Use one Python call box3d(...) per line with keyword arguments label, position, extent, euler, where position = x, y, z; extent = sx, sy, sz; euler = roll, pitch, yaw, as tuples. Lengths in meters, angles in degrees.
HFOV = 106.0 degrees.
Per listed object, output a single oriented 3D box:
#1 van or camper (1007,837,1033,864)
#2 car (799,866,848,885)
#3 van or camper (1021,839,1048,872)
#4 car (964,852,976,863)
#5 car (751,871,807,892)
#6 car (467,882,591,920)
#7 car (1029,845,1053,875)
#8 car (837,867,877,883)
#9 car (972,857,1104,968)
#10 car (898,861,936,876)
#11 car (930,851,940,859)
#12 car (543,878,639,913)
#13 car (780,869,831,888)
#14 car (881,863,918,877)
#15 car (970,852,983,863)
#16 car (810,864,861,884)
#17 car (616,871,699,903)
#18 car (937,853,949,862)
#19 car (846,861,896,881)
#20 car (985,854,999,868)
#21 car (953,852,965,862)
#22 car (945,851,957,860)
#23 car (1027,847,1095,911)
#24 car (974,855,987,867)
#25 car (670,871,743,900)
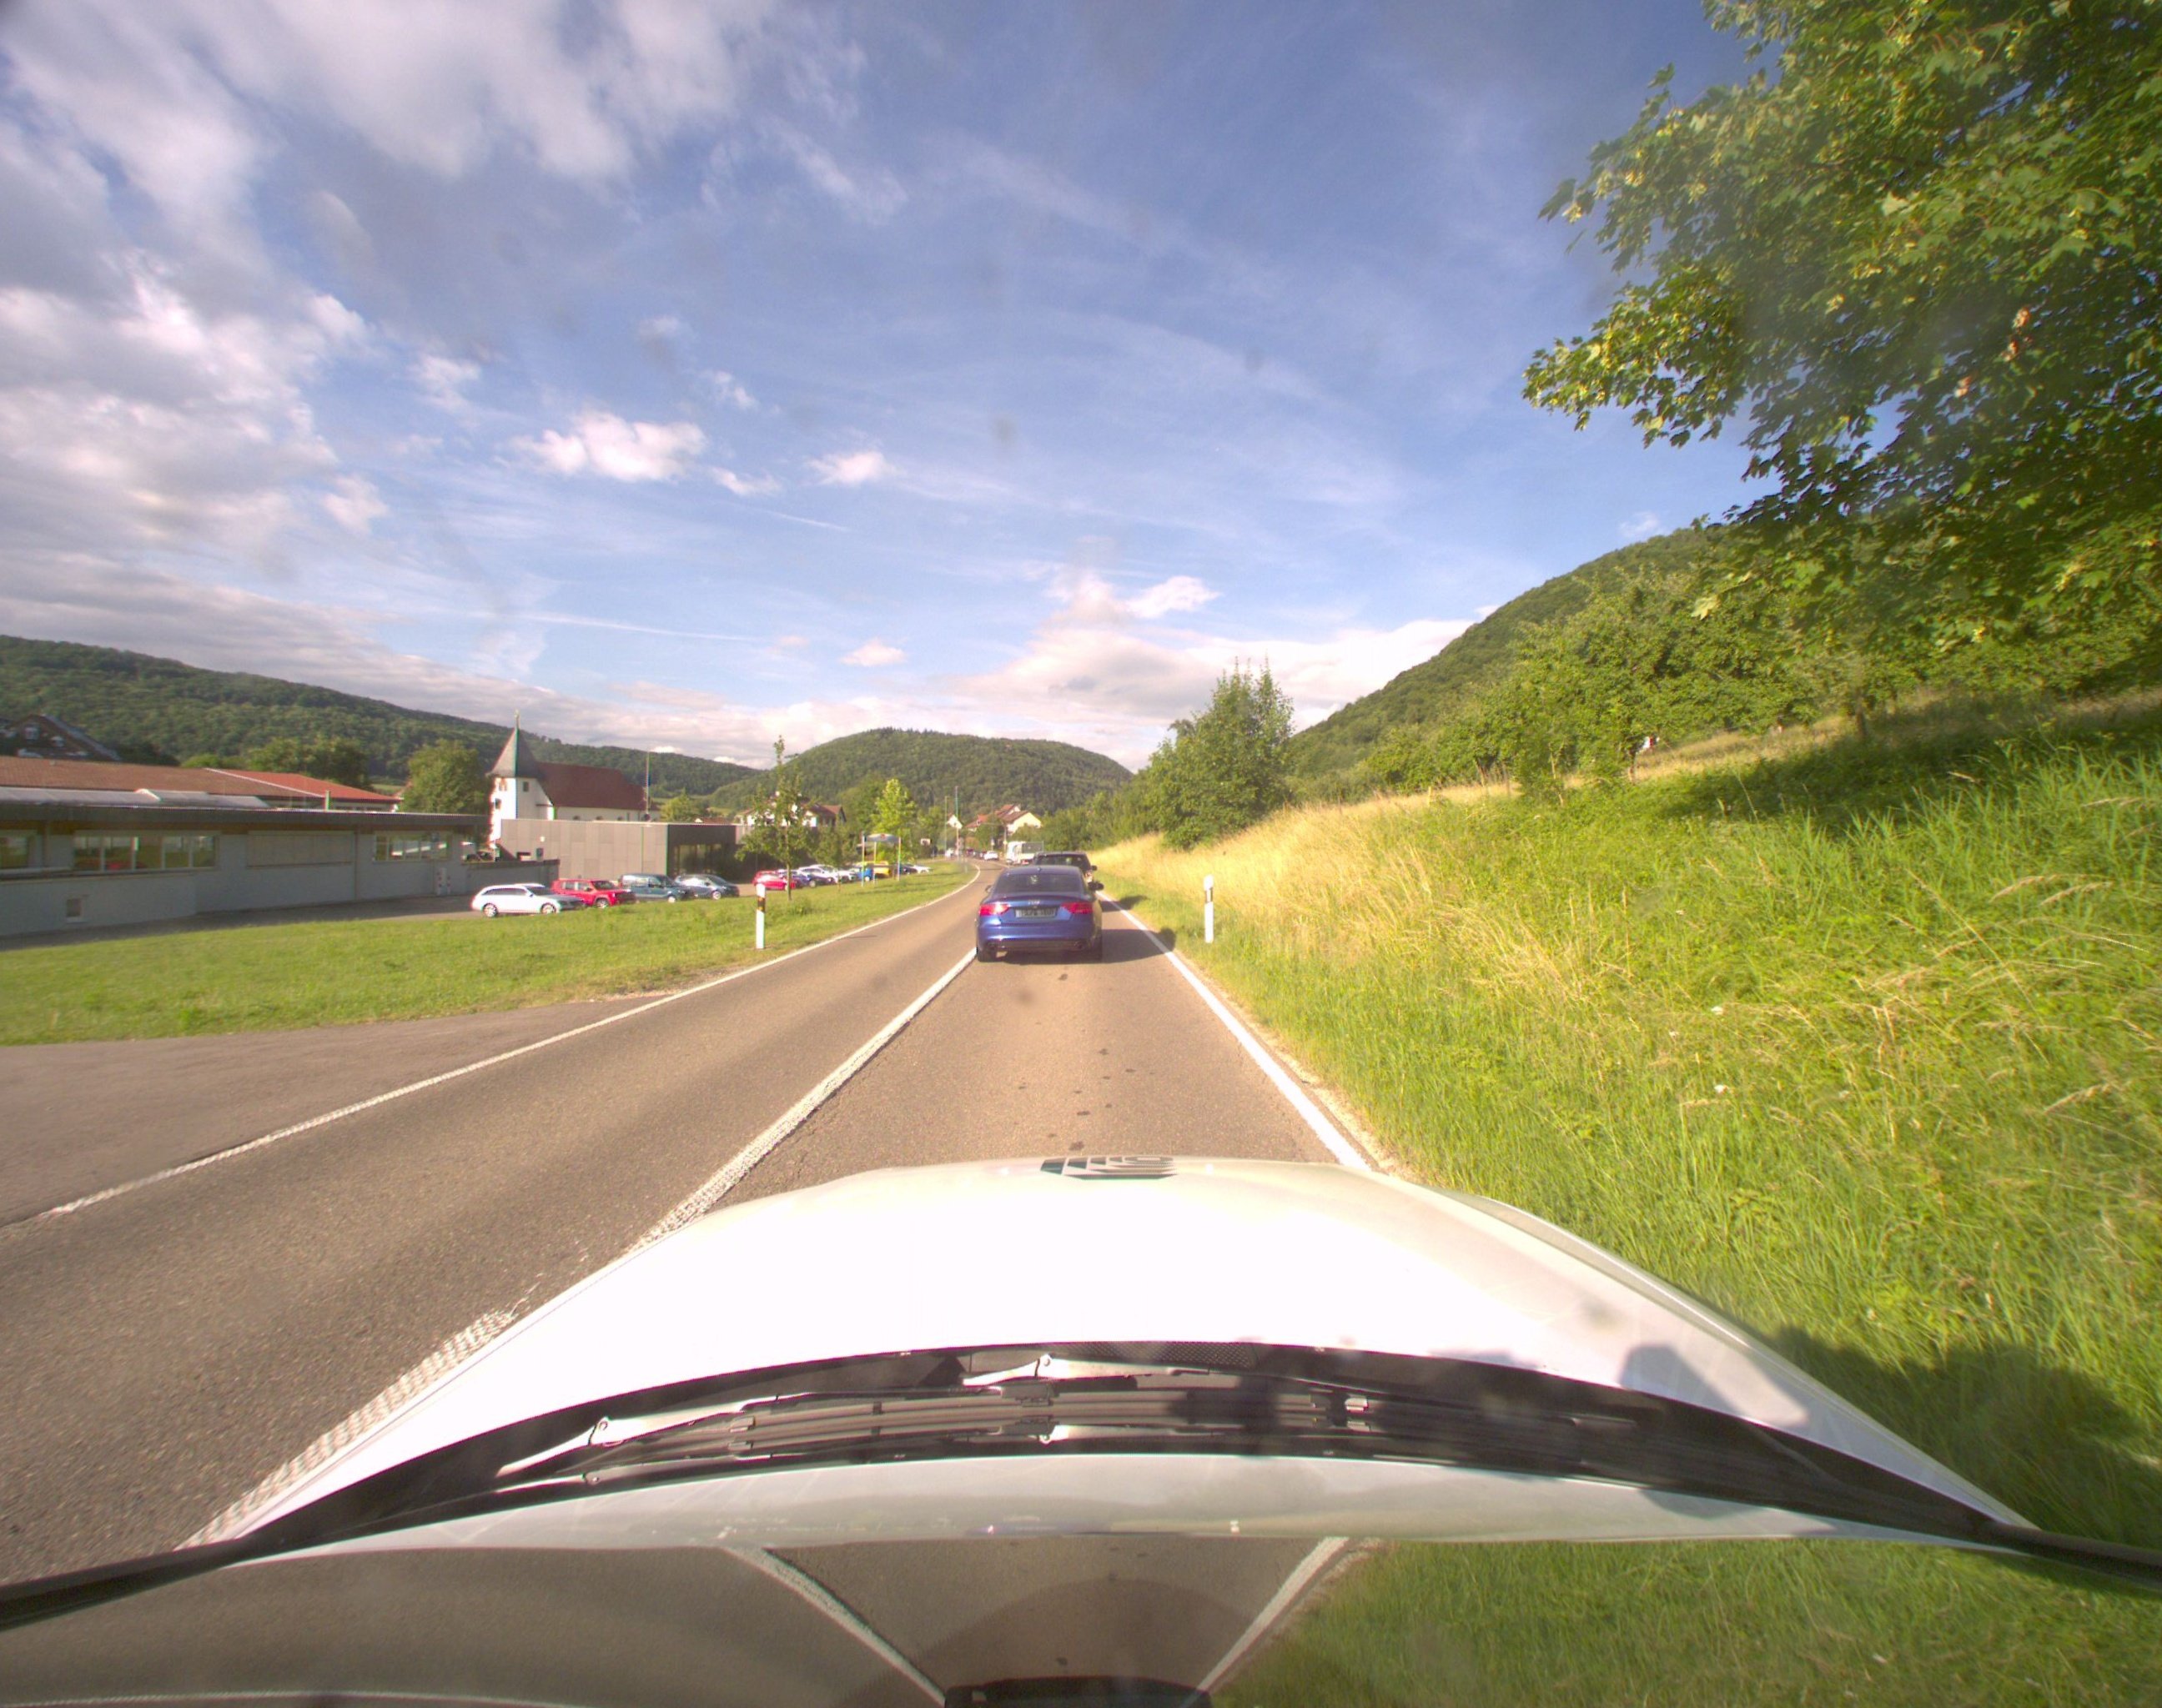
box3d(label="van or camper", position=(-6.578, -0.296, 86.793), extent=(2.280, 2.713, 5.750), euler=(-2, 0, -8))
box3d(label="car", position=(-22.179, 1.840, 70.231), extent=(3.647, 1.493, 1.600), euler=(-2, 1, 6))
box3d(label="van or camper", position=(-3.906, 0.149, 67.533), extent=(2.049, 2.505, 5.800), euler=(-2, 0, -5))
box3d(label="car", position=(-20.937, 0.662, 153.479), extent=(1.681, 1.924, 3.976), euler=(-2, 0, -17))
box3d(label="car", position=(-22.975, 2.058, 62.014), extent=(3.606, 1.444, 1.651), euler=(-2, 0, 6))
box3d(label="car", position=(-26.196, 2.217, 38.745), extent=(4.618, 1.589, 2.003), euler=(-2, 0, 5))
box3d(label="car", position=(-2.840, 0.419, 58.034), extent=(1.564, 2.013, 3.996), euler=(-2, 0, -3))
box3d(label="car", position=(-21.845, 2.021, 79.563), extent=(3.359, 1.373, 1.659), euler=(-2, 0, -2))
box3d(label="car", position=(-0.622, 0.788, 12.632), extent=(1.738, 1.450, 3.514), euler=(-1, 0, -2))
box3d(label="car", position=(-19.474, 1.681, 96.666), extent=(4.015, 1.660, 1.659), euler=(-2, 0, 6))
box3d(label="car", position=(-35.007, 0.214, 195.368), extent=(1.682, 1.924, 3.975), euler=(-2, 0, -18))
box3d(label="car", position=(-25.041, 2.113, 41.676), extent=(3.900, 1.579, 1.758), euler=(-2, 0, 5))
box3d(label="car", position=(-22.643, 1.994, 67.073), extent=(3.606, 1.405, 1.599), euler=(-2, 0, 6))
box3d(label="car", position=(-20.495, 1.834, 92.128), extent=(3.693, 1.439, 1.512), euler=(-2, 0, 6))
box3d(label="car", position=(-18.500, 0.605, 143.541), extent=(1.663, 1.924, 3.978), euler=(-2, 0, -16))
box3d(label="car", position=(-22.159, 1.797, 73.654), extent=(4.056, 1.673, 1.600), euler=(-2, 2, 6))
box3d(label="car", position=(-24.577, 1.903, 47.338), extent=(3.845, 1.722, 1.757), euler=(-1, 0, 3))
box3d(label="car", position=(-30.928, 0.752, 182.050), extent=(1.960, 1.924, 3.975), euler=(-2, 0, -18))
box3d(label="car", position=(-21.158, 1.696, 82.116), extent=(4.529, 1.815, 1.844), euler=(-2, 0, 6))
box3d(label="car", position=(-13.214, 1.049, 120.638), extent=(1.660, 1.924, 3.985), euler=(-2, 0, -11))
box3d(label="car", position=(-24.775, 0.548, 165.713), extent=(1.682, 1.924, 3.974), euler=(-2, 0, -19))
box3d(label="car", position=(-27.914, 0.318, 174.633), extent=(1.683, 1.924, 3.972), euler=(-2, 0, -20))
box3d(label="car", position=(-0.627, 0.635, 22.532), extent=(1.643, 1.625, 3.510), euler=(0, 0, -6))
box3d(label="car", position=(-16.345, 1.118, 132.366), extent=(1.661, 1.924, 3.982), euler=(-2, 0, -13))
box3d(label="car", position=(-23.863, 2.008, 51.898), extent=(3.799, 1.722, 1.735), euler=(-2, 0, 5))
